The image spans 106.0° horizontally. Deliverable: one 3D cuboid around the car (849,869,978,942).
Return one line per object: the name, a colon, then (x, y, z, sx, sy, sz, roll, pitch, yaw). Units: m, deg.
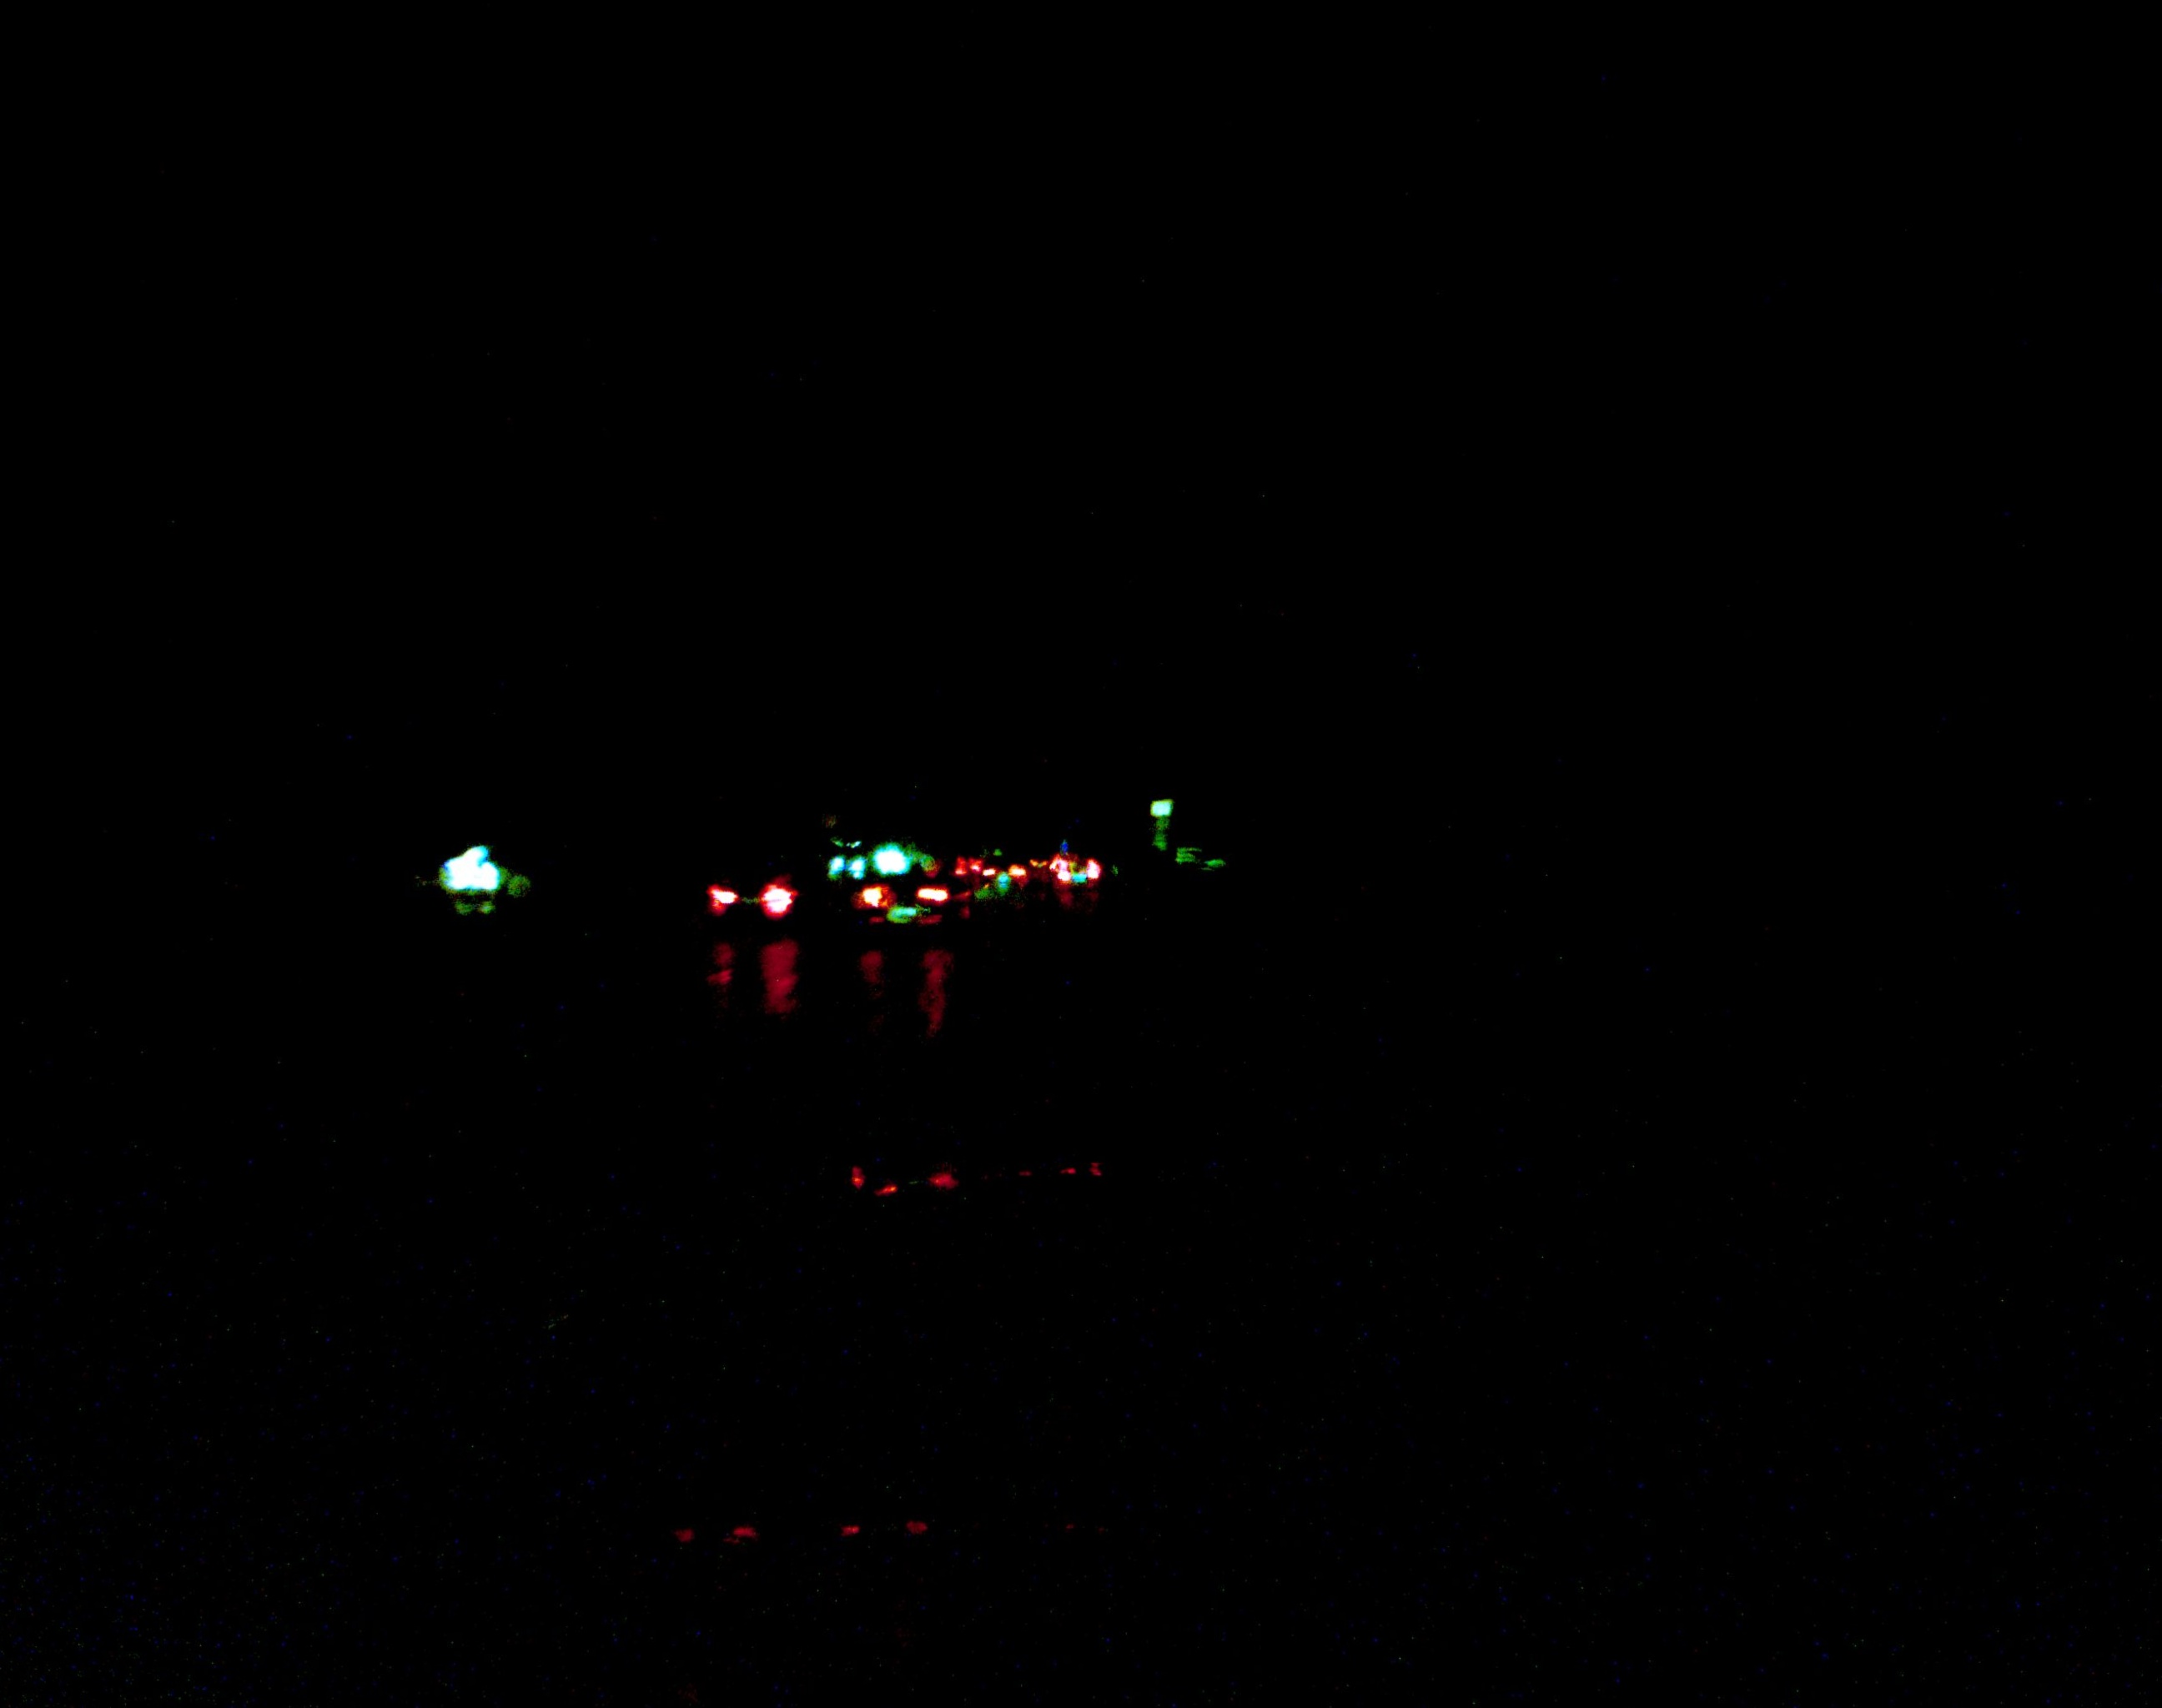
car: (-3.464, 1.034, 17.644, 1.956, 1.380, 4.047, 0, -1, 0)

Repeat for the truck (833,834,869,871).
truck: (-22.157, -0.093, 78.557, 2.602, 3.458, 4.629, 0, -1, -7)

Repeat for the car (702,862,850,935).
car: (-7.074, 0.950, 19.490, 1.763, 1.517, 4.912, 0, 0, -1)

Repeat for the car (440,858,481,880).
car: (-49.002, 1.202, 64.323, 3.949, 1.713, 1.848, -1, -1, 42)

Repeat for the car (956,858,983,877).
car: (-9.434, 1.143, 69.224, 1.888, 1.550, 3.996, 0, -1, -3)
